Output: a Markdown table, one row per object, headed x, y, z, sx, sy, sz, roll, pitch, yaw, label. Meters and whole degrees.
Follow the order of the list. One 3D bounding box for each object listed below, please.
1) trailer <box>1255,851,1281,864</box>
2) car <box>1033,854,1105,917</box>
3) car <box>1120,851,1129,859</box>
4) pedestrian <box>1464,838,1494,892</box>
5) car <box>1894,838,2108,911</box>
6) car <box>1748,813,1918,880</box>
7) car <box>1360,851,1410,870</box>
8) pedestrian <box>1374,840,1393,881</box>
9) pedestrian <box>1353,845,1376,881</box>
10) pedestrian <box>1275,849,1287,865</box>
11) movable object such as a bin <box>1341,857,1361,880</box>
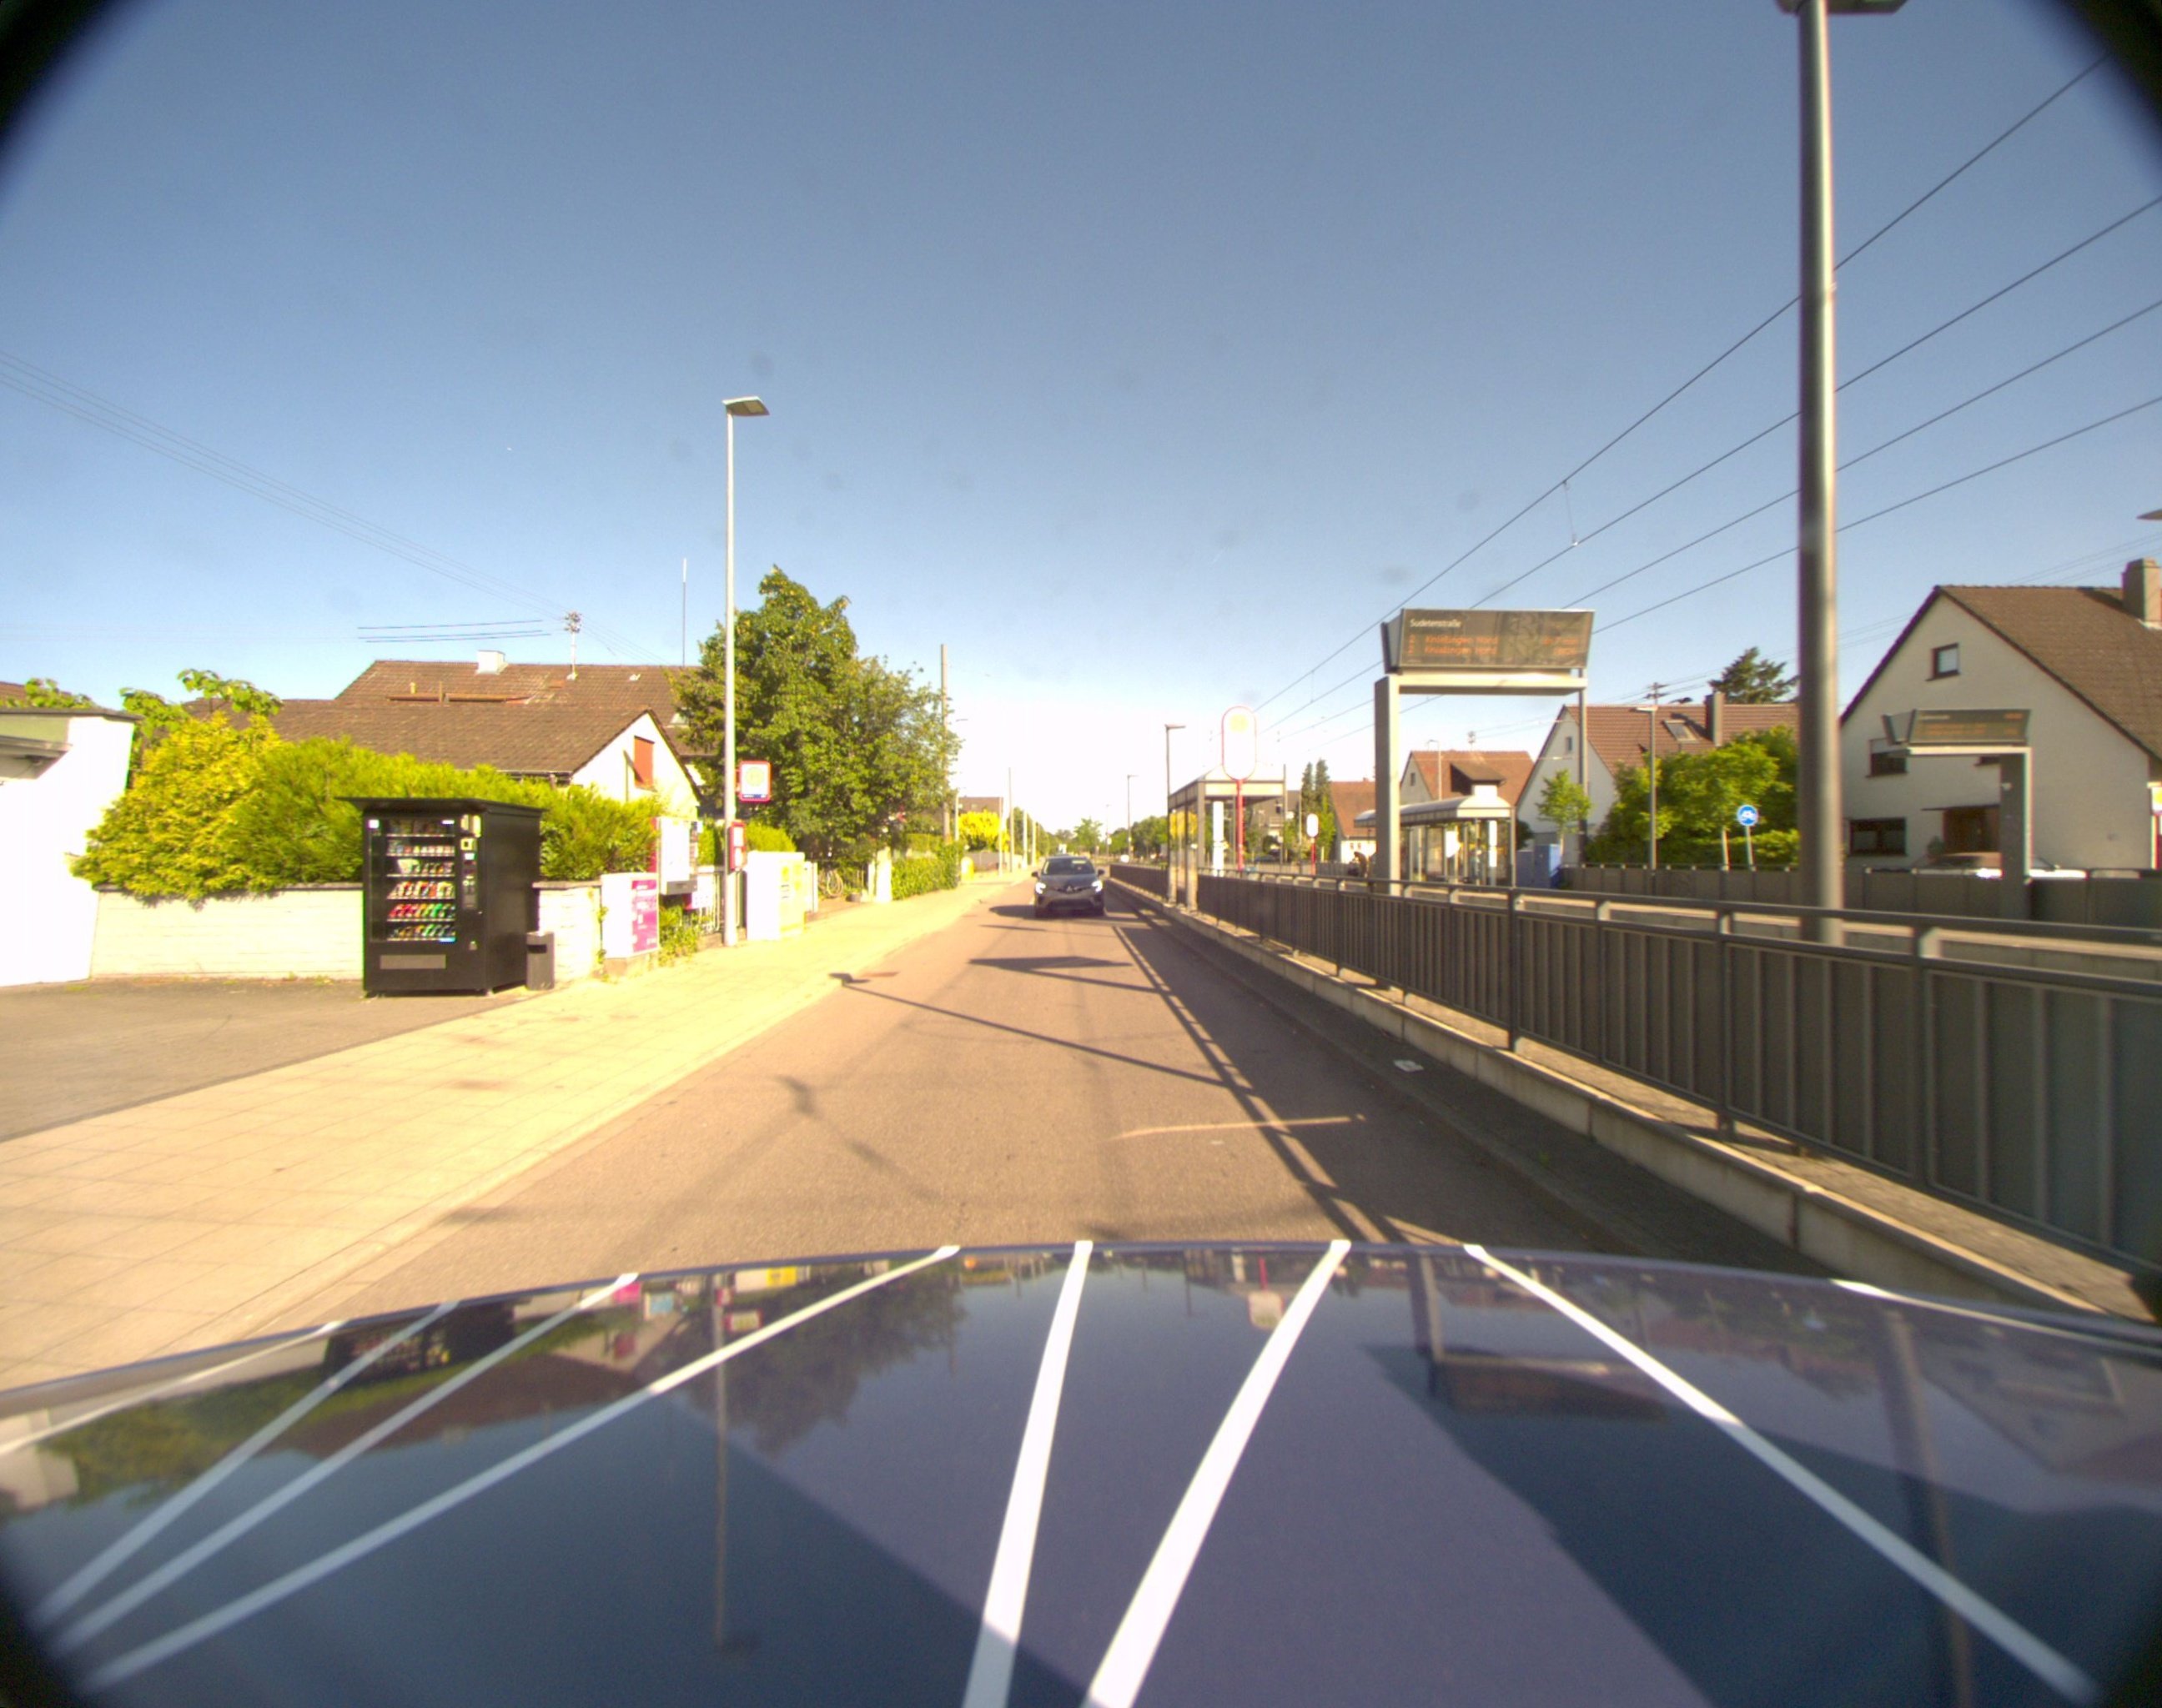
| x | y | z | sx | sy | sz | roll | pitch | yaw | label |
| --- | --- | --- | --- | --- | --- | --- | --- | --- | --- |
| 24.043 | 0.411 | 97.838 | 2.922 | 1.638 | 1.398 | -1 | 1 | -4 | trailer |
| -0.409 | 0.818 | 21.989 | 1.868 | 1.614 | 3.999 | -1 | 0 | -3 | car |
| 11.156 | 0.291 | 192.953 | 1.902 | 1.903 | 4.701 | 0 | 0 | -1 | car |
| 12.680 | 0.350 | 24.224 | 0.501 | 1.686 | 0.771 | 2 | 0 | -1 | pedestrian |
| 25.472 | 0.532 | 21.137 | 3.854 | 1.796 | 1.799 | -2 | 1 | -1 | car |
| 24.436 | -0.255 | 24.753 | 4.000 | 1.958 | 1.931 | -2 | 1 | -9 | car |
| 24.520 | 0.526 | 61.499 | 1.939 | 1.441 | 5.161 | -1 | 0 | -1 | car |
| 12.542 | 0.268 | 31.500 | 0.521 | 1.698 | 0.580 | -1 | 0 | -6 | pedestrian |
| 12.239 | 0.380 | 32.794 | 0.677 | 1.527 | 0.748 | -1 | 0 | -6 | pedestrian |
| 20.631 | 0.313 | 78.463 | 0.967 | 1.631 | 1.085 | -1 | 1 | -1 | pedestrian |
| 11.632 | 0.636 | 32.735 | 0.548 | 0.982 | 0.741 | -1 | 0 | -5 | movable object such as a bin |
